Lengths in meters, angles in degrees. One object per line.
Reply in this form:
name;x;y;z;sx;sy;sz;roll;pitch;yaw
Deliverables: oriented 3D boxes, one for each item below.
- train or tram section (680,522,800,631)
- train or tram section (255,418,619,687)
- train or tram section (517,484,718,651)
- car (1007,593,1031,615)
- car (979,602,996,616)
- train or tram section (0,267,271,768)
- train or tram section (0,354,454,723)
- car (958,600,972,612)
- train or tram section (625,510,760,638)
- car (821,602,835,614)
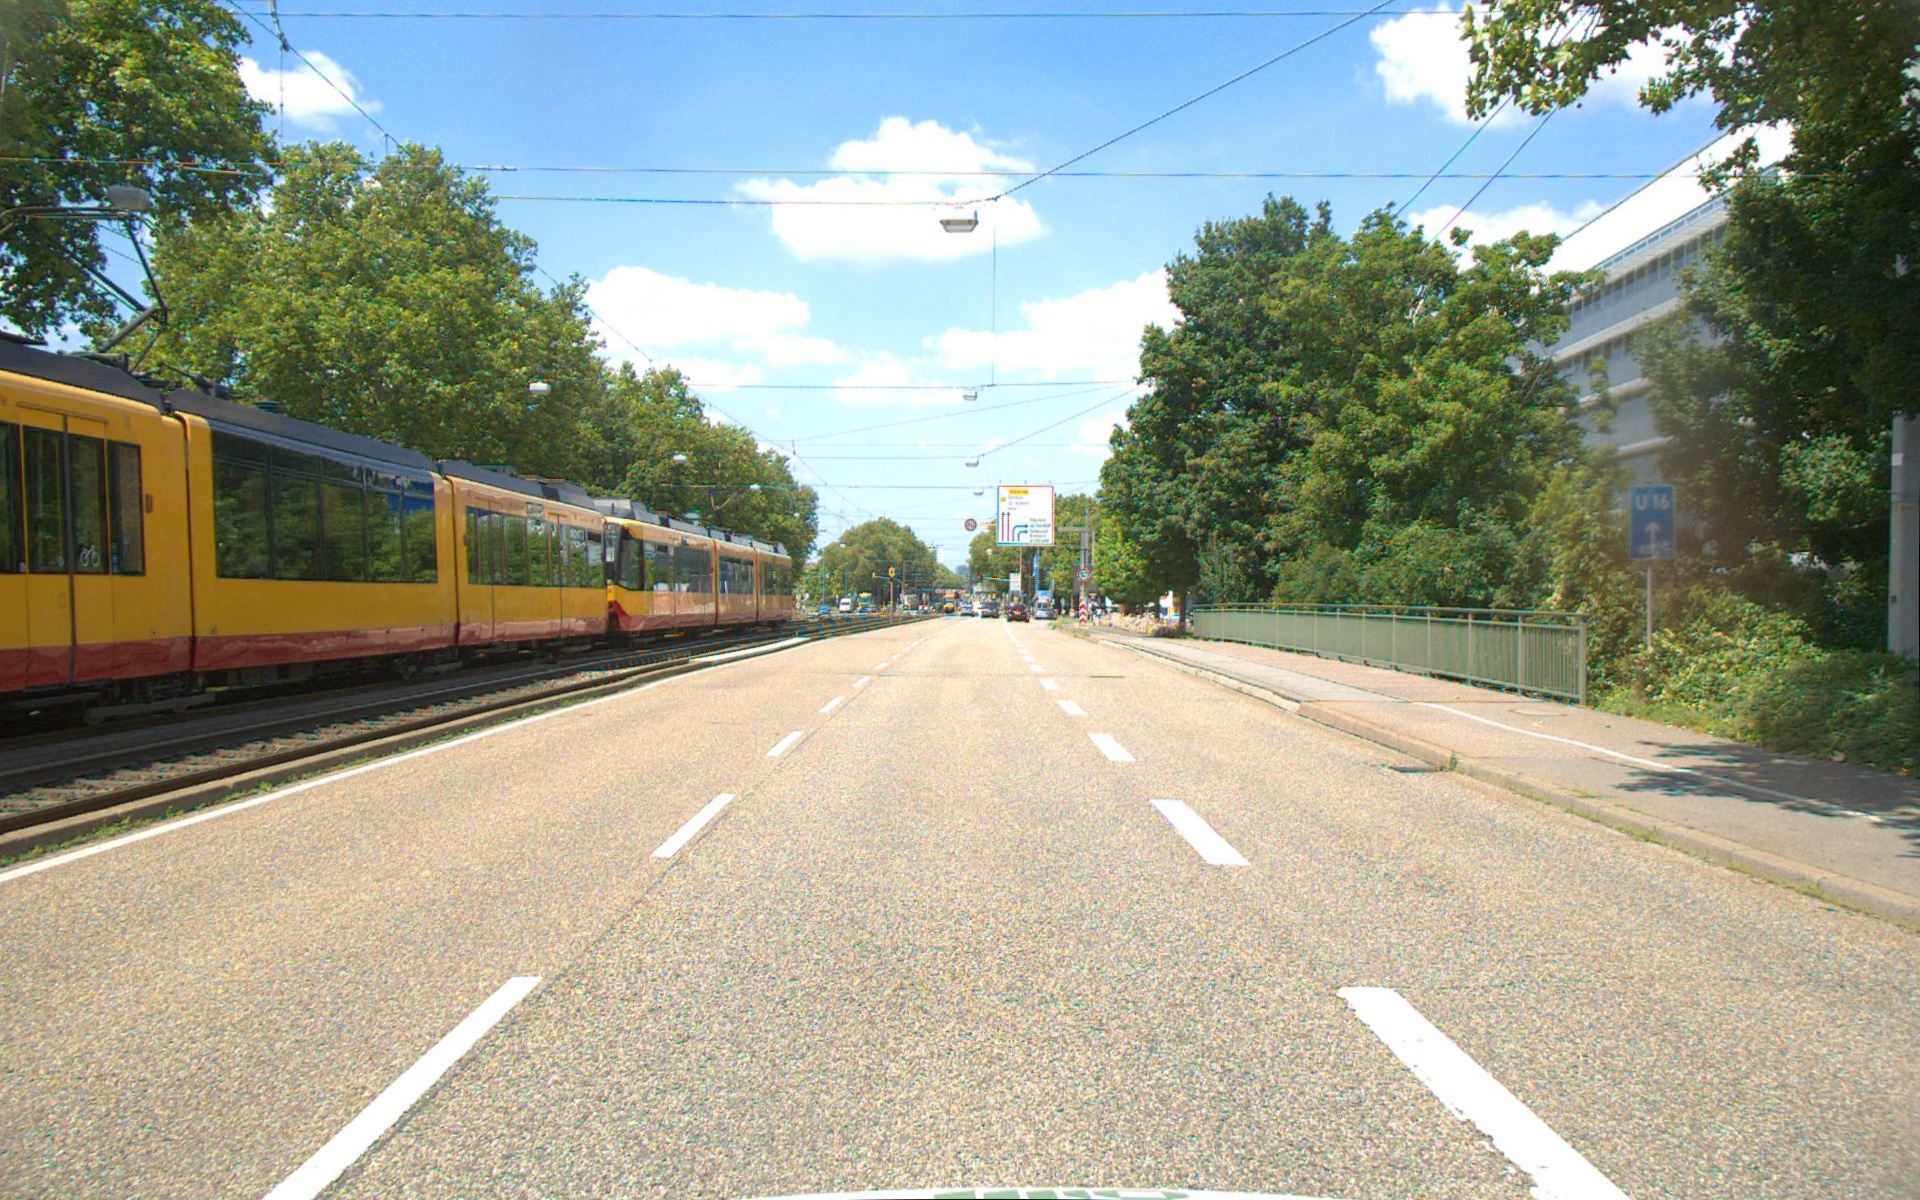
train or tram section;-9.224;-0.919;71.251;2.975;4.213;13.984;0;0;1
train or tram section;-9.902;-0.790;33.755;2.986;4.342;14.035;0;0;0
train or tram section;-9.716;-0.840;48.899;2.975;4.227;13.483;0;0;1
car;5.058;0.359;142.102;1.861;1.837;3.976;2;0;0
car;3.241;1.012;195.362;1.838;1.566;3.776;2;0;0
train or tram section;-9.794;-0.708;12.410;2.986;4.342;15.420;0;0;-1
train or tram section;-9.902;-0.743;23.495;2.986;4.342;8.002;0;0;0
car;0.631;0.773;222.143;1.805;1.577;3.776;2;0;-1
train or tram section;-9.491;-0.877;60.026;2.975;4.221;10.235;0;0;1
car;-18.614;1.144;233.832;1.611;1.577;4.216;2;0;-1
